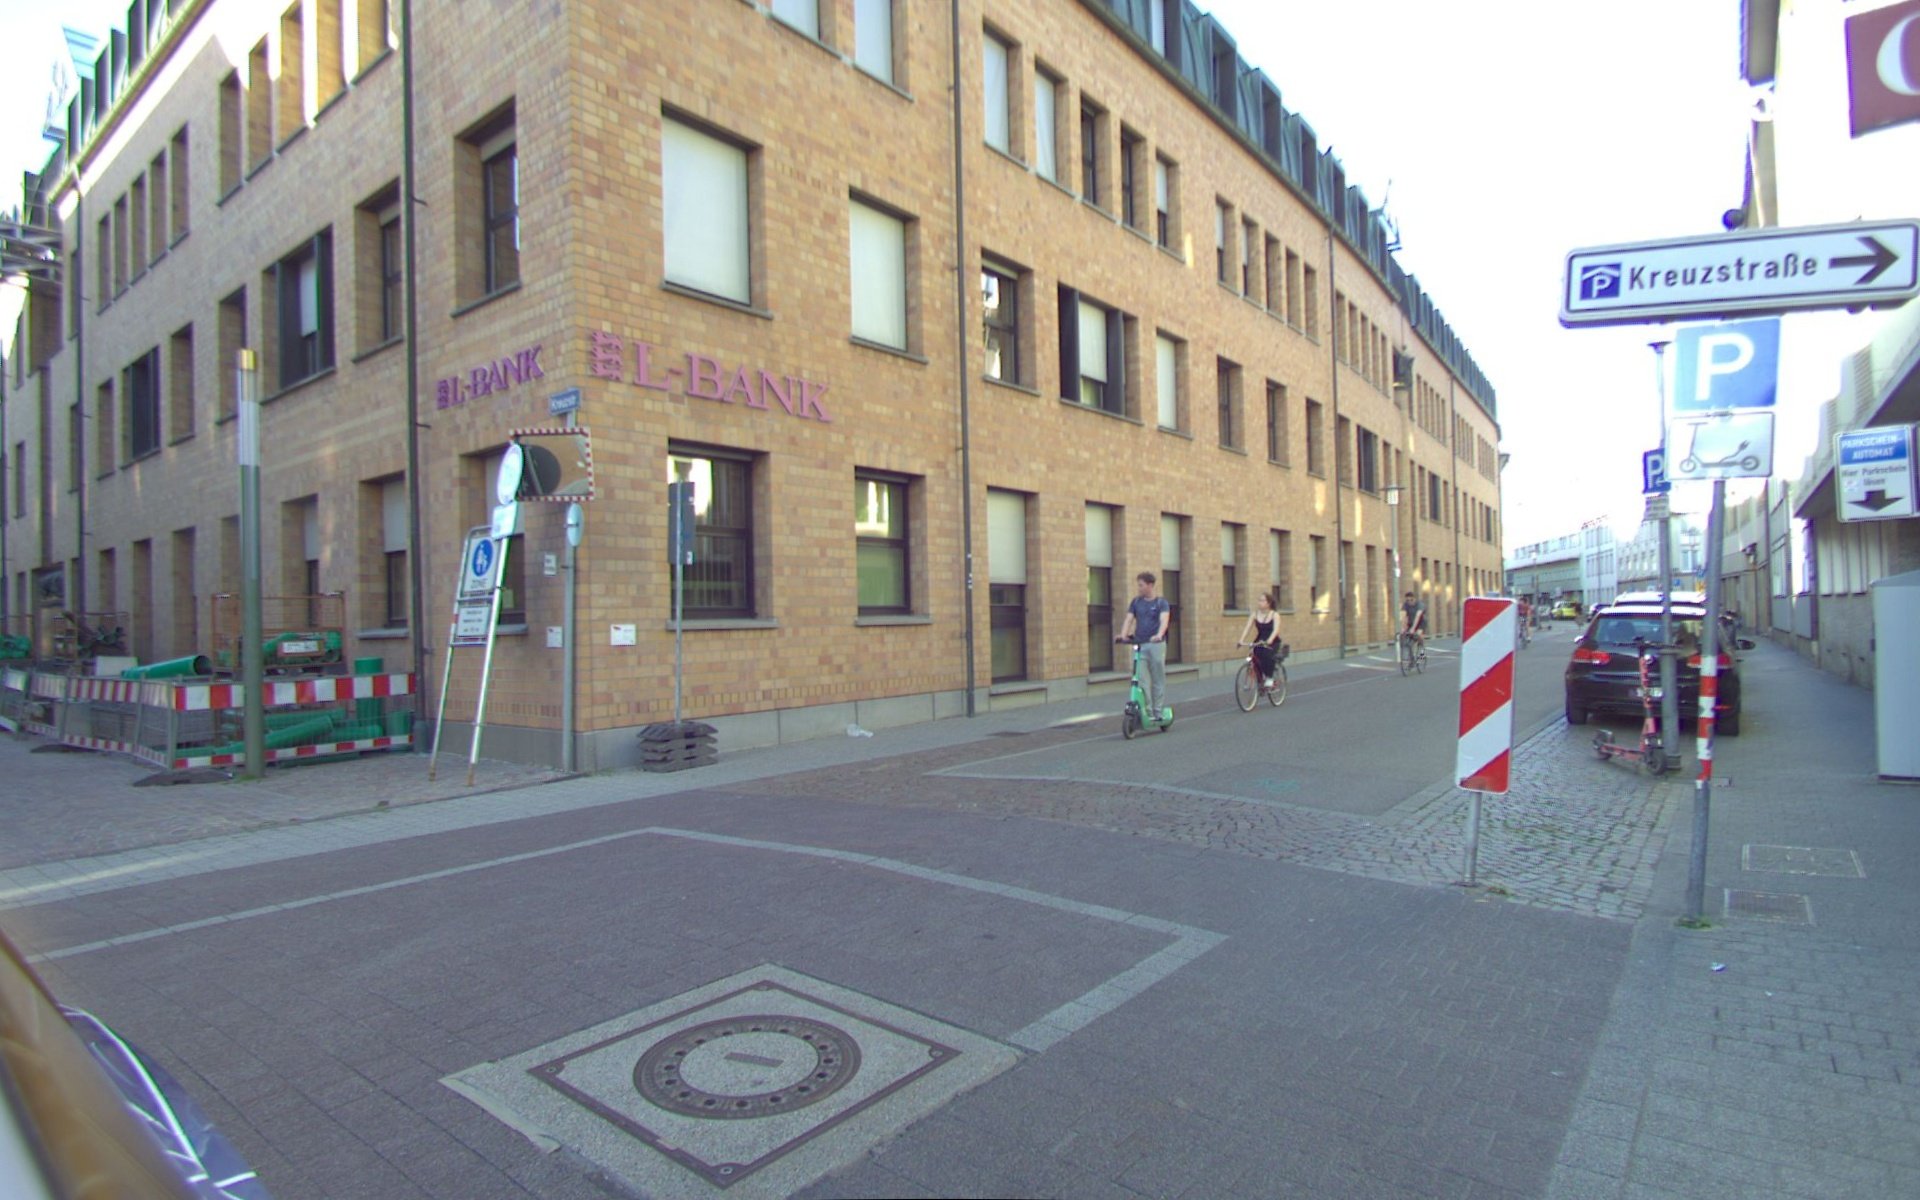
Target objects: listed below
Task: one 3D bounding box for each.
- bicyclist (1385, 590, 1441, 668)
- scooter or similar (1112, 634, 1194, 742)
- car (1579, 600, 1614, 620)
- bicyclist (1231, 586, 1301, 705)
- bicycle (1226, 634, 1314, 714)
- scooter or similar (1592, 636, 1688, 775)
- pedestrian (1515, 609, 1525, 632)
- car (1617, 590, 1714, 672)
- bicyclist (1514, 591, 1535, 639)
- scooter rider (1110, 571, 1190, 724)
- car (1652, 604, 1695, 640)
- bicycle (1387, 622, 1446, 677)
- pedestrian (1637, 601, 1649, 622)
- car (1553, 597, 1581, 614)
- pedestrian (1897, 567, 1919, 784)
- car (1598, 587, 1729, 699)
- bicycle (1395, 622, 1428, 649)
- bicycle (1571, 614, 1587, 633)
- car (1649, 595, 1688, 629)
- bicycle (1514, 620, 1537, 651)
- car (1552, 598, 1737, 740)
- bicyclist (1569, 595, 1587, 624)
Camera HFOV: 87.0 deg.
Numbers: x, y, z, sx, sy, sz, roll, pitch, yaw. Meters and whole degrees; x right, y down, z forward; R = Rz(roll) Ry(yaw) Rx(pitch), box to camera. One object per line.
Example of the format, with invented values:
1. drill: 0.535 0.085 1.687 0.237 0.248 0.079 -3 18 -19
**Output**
1. bicyclist: 9.544 0.595 21.314 0.649 1.570 1.094 -7 -4 41
2. scooter or similar: 2.292 1.014 11.938 0.337 1.195 1.262 -5 -4 39
3. car: 55.013 0.897 87.528 1.924 1.663 3.806 -2 -1 23
4. bicyclist: 4.519 0.665 14.925 0.619 1.679 0.813 -6 -4 38
5. bicycle: 4.608 1.073 14.975 0.590 1.060 1.778 -5 -3 37
6. scooter or similar: 6.216 0.937 9.282 0.205 1.193 0.883 -1 -1 -3
7. pedestrian: 37.218 1.366 67.278 0.542 1.556 0.400 -1 -1 36
8. car: 16.227 0.645 23.198 1.671 1.717 3.962 0 0 37
9. bicyclist: 18.324 0.497 32.853 0.427 1.509 0.865 -4 -3 35
10. scooter rider: 2.252 0.555 11.993 0.648 1.739 0.692 -3 -3 41
11. car: 35.513 1.060 50.388 1.690 1.692 3.465 0 0 35
12. bicycle: 9.643 1.025 21.344 0.573 1.059 1.812 -6 -4 40
13. pedestrian: 47.440 0.798 70.294 0.569 1.490 0.469 -2 -1 30
14. car: 61.429 0.583 102.502 1.924 1.663 3.806 -1 -1 23
15. pedestrian: 5.065 0.606 4.849 0.528 1.592 0.509 -4 -3 12
16. car: 12.062 0.653 17.264 1.671 1.674 4.029 0 0 37
17. bicycle: 16.205 1.250 36.294 0.641 0.888 2.527 -1 -1 34
18. bicycle: 37.738 1.428 61.685 0.702 1.112 1.808 -6 -4 30
19. car: 38.621 0.625 55.193 1.690 1.789 3.612 0 0 35
20. bicycle: 18.361 1.143 32.851 0.435 0.964 1.571 -2 -1 36
21. car: 8.856 0.744 12.996 1.738 1.497 3.763 0 1 37
22. bicyclist: 37.654 0.574 61.662 0.770 1.668 0.947 -5 -4 31
